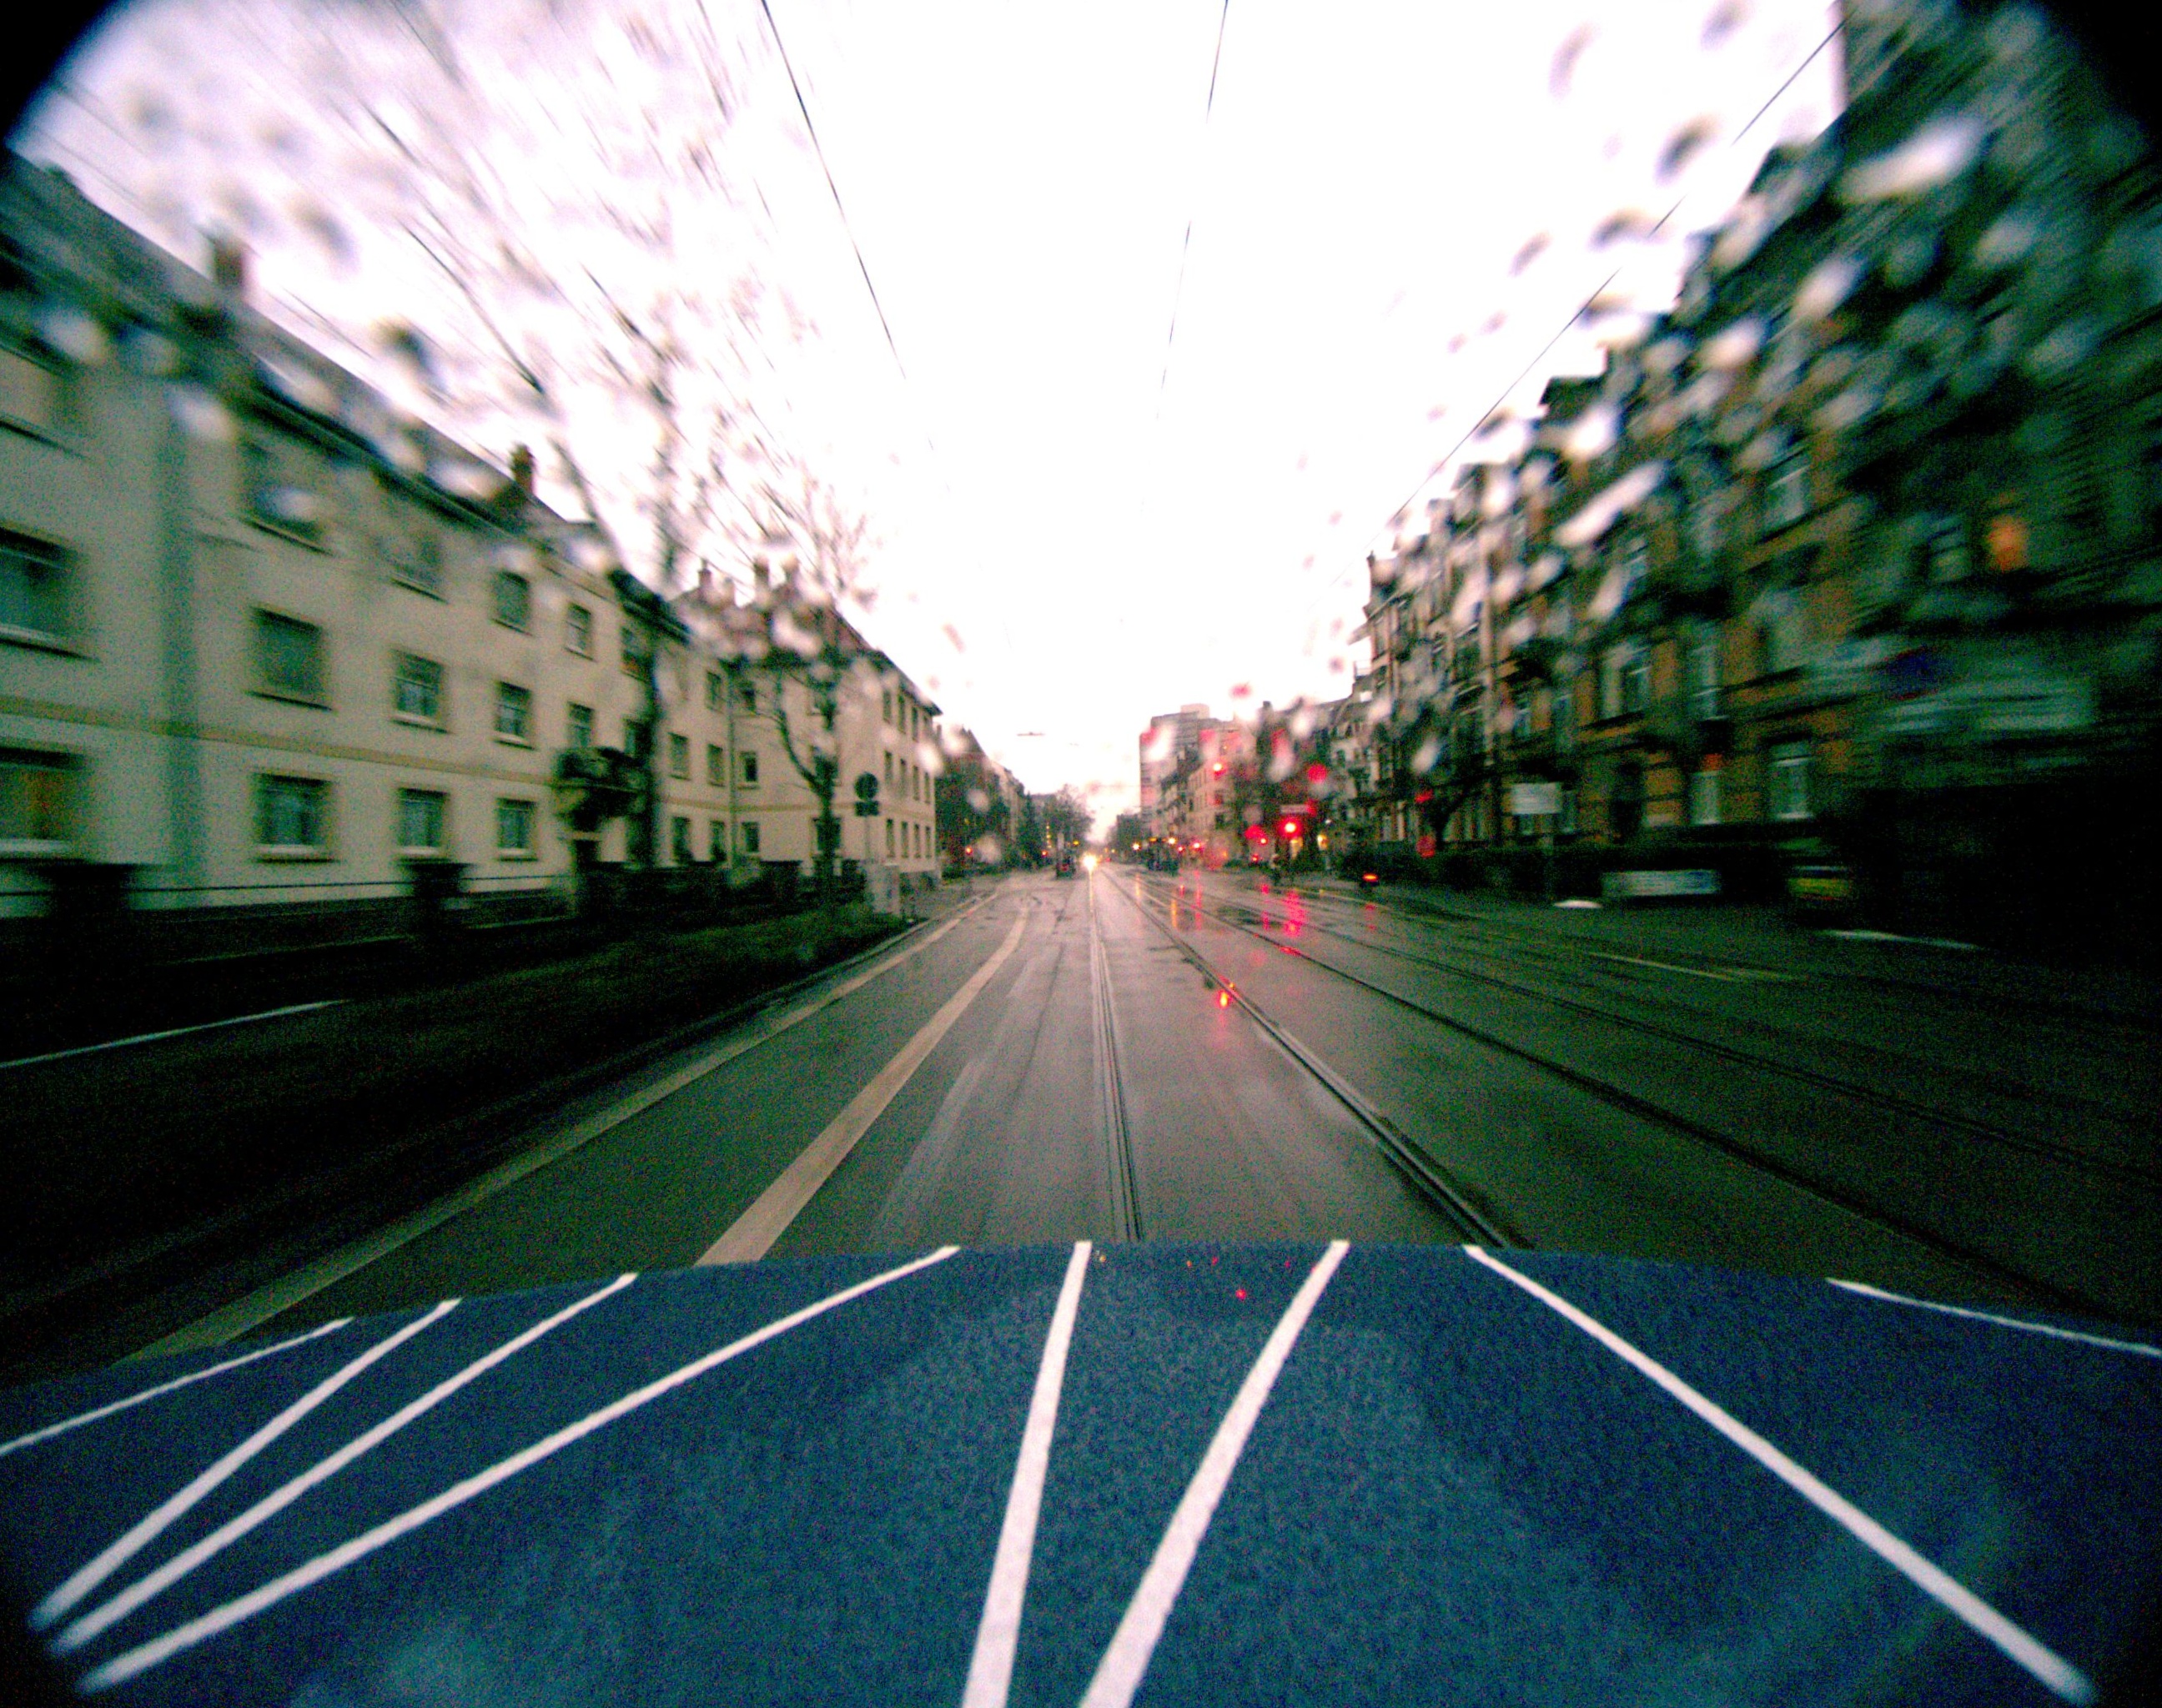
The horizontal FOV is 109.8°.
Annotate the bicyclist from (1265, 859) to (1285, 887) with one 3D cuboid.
[{"bbox_3d":[9.754,0.951,38.197,0.706,1.356,0.944,-3,1,2],"label":"bicyclist"}]

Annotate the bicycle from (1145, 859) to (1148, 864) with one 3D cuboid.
[{"bbox_3d":[13.566,1.562,156.852,0.530,0.884,2.210,-1,0,5],"label":"bicycle"}]

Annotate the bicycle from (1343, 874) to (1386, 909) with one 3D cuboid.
[{"bbox_3d":[8.935,1.158,24.036,0.680,0.966,1.933,-2,0,2],"label":"bicycle"}]

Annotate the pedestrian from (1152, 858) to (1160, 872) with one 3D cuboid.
[{"bbox_3d":[7.726,1.105,78.350,0.685,1.395,0.578,-4,1,1],"label":"pedestrian"}]

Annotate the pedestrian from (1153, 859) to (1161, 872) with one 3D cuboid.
[{"bbox_3d":[7.665,1.144,76.524,0.654,1.211,0.517,-4,1,1],"label":"pedestrian"}]

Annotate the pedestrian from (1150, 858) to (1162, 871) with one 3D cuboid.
[{"bbox_3d":[7.583,1.072,77.126,1.058,1.247,0.506,-4,1,0],"label":"pedestrian"}]

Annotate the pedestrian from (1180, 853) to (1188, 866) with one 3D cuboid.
[{"bbox_3d":[15.037,0.777,110.843,0.796,1.867,0.896,-4,1,37],"label":"pedestrian"}]

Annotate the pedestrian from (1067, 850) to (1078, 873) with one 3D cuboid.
[{"bbox_3d":[-0.739,0.625,64.226,0.688,1.906,0.717,-4,1,-7],"label":"pedestrian"}]

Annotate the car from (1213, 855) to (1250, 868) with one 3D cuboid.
[{"bbox_3d":[18.691,0.943,94.093,4.335,1.574,1.940,-1,0,17],"label":"car"}]

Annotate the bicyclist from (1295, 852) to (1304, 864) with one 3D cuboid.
[{"bbox_3d":[25.084,0.500,87.190,0.531,1.356,0.764,-4,1,-25],"label":"bicyclist"}]

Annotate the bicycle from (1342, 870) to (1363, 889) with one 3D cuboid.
[{"bbox_3d":[13.272,1.216,37.135,0.400,0.857,1.849,-2,0,2],"label":"bicycle"}]

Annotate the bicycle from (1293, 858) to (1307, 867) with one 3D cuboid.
[{"bbox_3d":[25.122,0.945,87.187,0.493,1.001,1.807,-1,0,-25],"label":"bicycle"}]

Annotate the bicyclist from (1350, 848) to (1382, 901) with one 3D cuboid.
[{"bbox_3d":[8.911,0.639,23.744,0.685,1.606,0.765,-2,1,2],"label":"bicyclist"}]

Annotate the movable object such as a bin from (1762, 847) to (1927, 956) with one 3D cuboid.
[{"bbox_3d":[11.948,0.705,11.966,1.246,1.576,1.308,-2,0,6],"label":"movable object such as a bin"}]

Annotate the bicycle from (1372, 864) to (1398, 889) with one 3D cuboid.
[{"bbox_3d":[12.932,0.938,32.334,0.417,1.001,1.849,-2,0,2],"label":"bicycle"}]

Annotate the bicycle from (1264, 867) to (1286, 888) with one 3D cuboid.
[{"bbox_3d":[9.767,1.172,38.258,0.683,1.001,1.803,-1,0,2],"label":"bicycle"}]

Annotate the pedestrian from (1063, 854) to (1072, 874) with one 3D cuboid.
[{"bbox_3d":[-1.206,0.879,66.510,0.659,1.698,0.571,-4,1,2],"label":"pedestrian"}]

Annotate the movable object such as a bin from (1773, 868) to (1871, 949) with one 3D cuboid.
[{"bbox_3d":[12.505,0.907,12.840,0.897,1.285,0.746,-2,0,-2],"label":"movable object such as a bin"}]

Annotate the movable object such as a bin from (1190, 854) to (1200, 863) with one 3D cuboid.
[{"bbox_3d":[17.732,0.661,118.125,1.352,1.364,1.281,-4,0,0],"label":"movable object such as a bin"}]
